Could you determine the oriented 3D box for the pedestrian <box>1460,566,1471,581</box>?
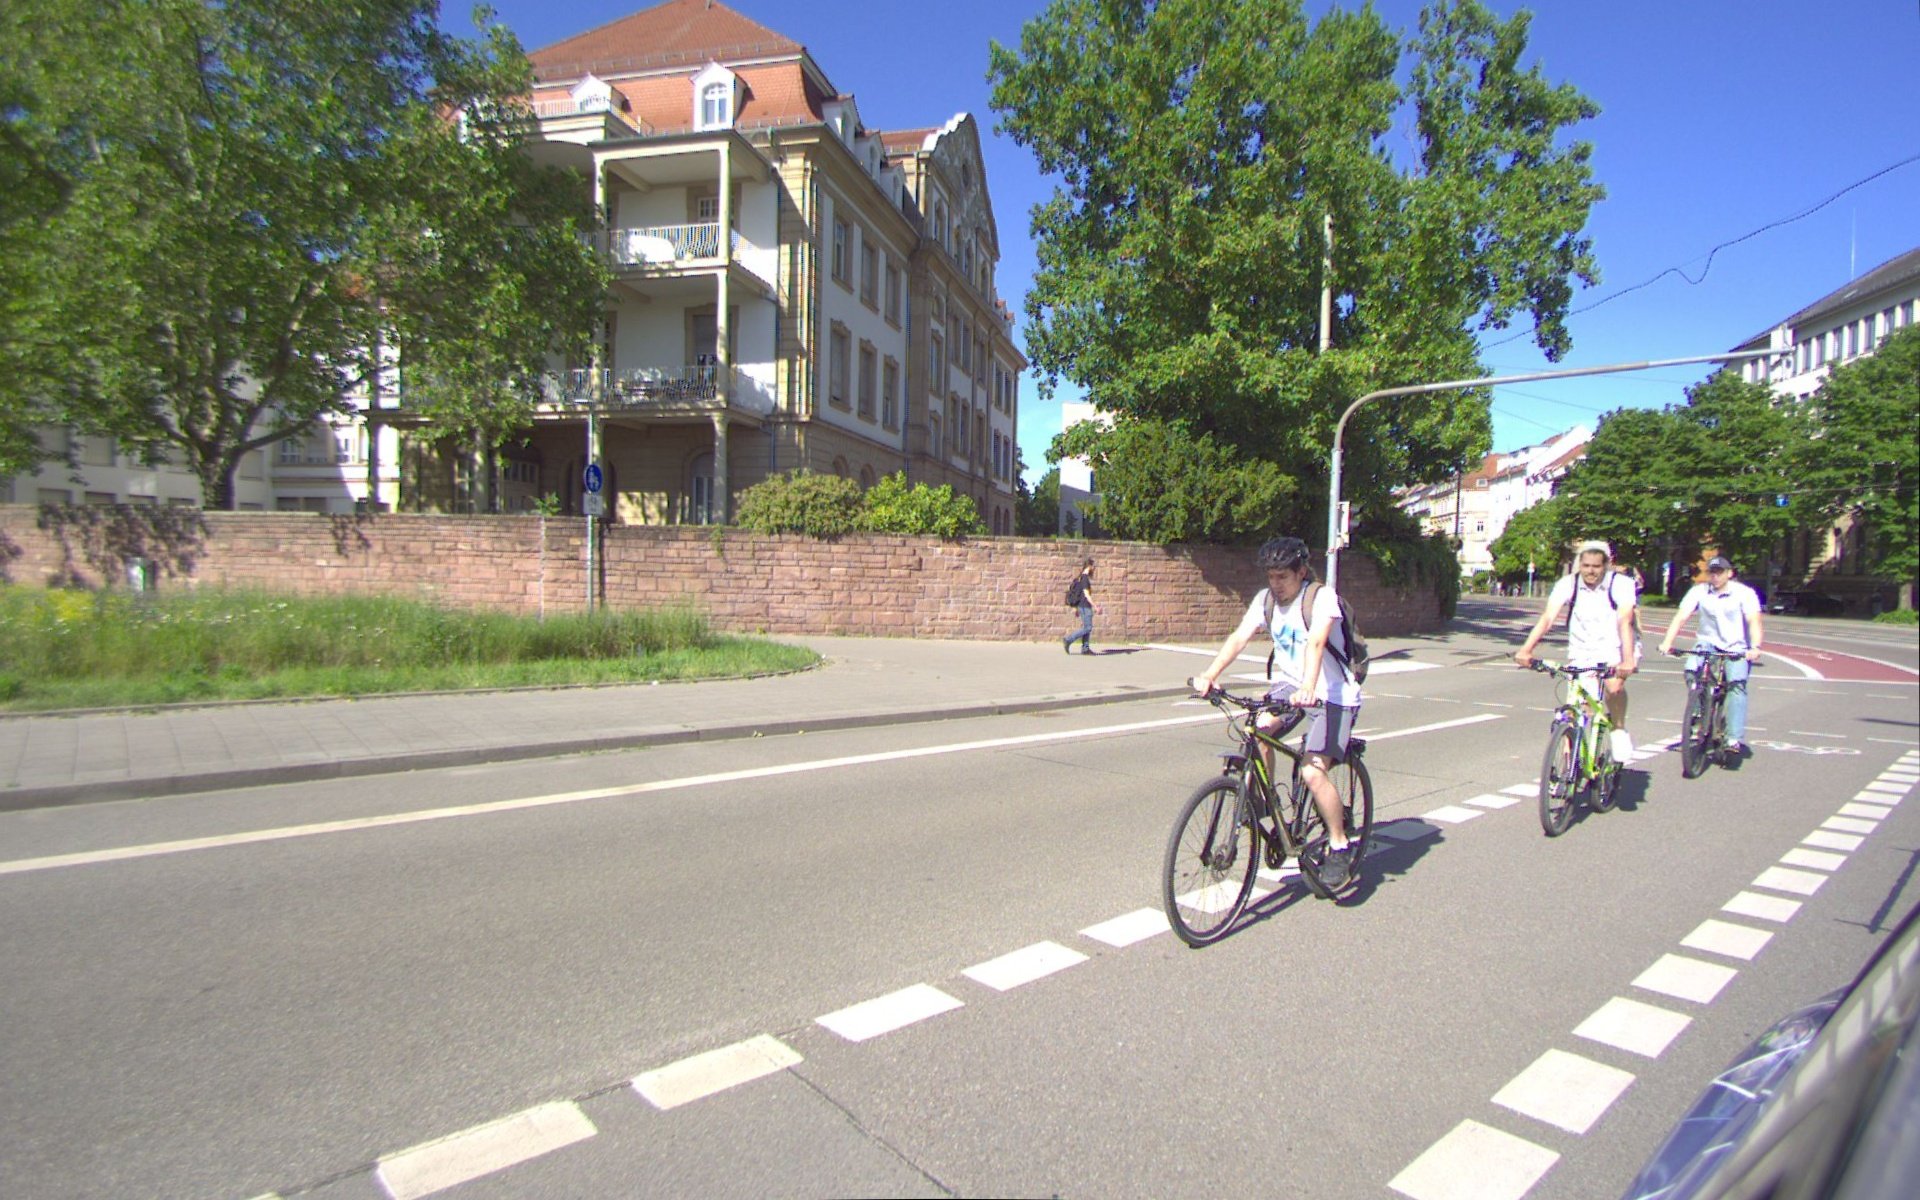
[{"bbox_3d":[58.468,-3.060,117.088,0.913,1.759,0.680,1,2,-4],"label":"pedestrian"}]

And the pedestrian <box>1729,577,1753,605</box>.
[{"bbox_3d":[48.690,-0.555,63.110,0.759,1.690,1.030,3,-2,10],"label":"pedestrian"}]

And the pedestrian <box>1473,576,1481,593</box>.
[{"bbox_3d":[60.171,-1.799,117.748,0.719,1.879,0.650,2,2,17],"label":"pedestrian"}]

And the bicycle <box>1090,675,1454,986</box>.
[{"bbox_3d":[1.473,0.907,4.583,1.851,0.972,0.723,-1,1,-42],"label":"bicycle"}]

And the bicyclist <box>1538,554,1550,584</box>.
[{"bbox_3d":[60.518,-3.201,104.840,0.996,3.011,1.458,1,2,31],"label":"bicyclist"}]

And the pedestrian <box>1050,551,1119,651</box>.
[{"bbox_3d":[2.396,-0.003,19.524,1.030,1.854,0.761,0,3,-35],"label":"pedestrian"}]

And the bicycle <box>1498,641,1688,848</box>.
[{"bbox_3d":[4.177,0.853,6.615,0.663,1.060,1.860,2,2,44],"label":"bicycle"}]

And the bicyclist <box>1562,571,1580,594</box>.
[{"bbox_3d":[44.253,-1.265,73.291,0.862,1.602,0.746,-1,2,-6],"label":"bicyclist"}]

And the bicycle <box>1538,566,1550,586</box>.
[{"bbox_3d":[60.438,-2.491,104.710,0.996,1.910,3.851,1,3,32],"label":"bicycle"}]

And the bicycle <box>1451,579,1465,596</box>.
[{"bbox_3d":[35.453,-0.901,72.113,0.657,1.166,1.663,0,3,18],"label":"bicycle"}]

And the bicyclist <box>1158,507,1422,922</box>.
[{"bbox_3d":[1.518,0.442,4.631,1.037,1.646,0.723,0,1,-41],"label":"bicyclist"}]

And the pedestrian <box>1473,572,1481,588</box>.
[{"bbox_3d":[60.133,-2.319,117.748,0.571,1.879,0.681,2,2,15],"label":"pedestrian"}]

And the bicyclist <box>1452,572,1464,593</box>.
[{"bbox_3d":[35.448,-1.243,72.083,0.657,1.479,0.619,0,2,19],"label":"bicyclist"}]

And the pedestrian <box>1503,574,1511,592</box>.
[{"bbox_3d":[58.720,-1.861,108.577,0.571,1.879,0.681,2,2,15],"label":"pedestrian"}]

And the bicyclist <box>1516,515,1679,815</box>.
[{"bbox_3d":[4.127,0.369,6.540,0.664,1.769,0.989,2,2,44],"label":"bicyclist"}]

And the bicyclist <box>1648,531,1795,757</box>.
[{"bbox_3d":[6.502,0.332,8.644,0.996,1.797,0.751,-1,2,-39],"label":"bicyclist"}]

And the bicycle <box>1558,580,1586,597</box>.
[{"bbox_3d":[44.317,-0.847,73.311,1.567,1.166,0.746,-1,2,-5],"label":"bicycle"}]

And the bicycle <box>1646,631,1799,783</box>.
[{"bbox_3d":[6.577,0.861,8.698,1.797,1.090,0.612,-1,2,-39],"label":"bicycle"}]

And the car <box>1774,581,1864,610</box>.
[{"bbox_3d":[50.846,-0.280,59.932,4.024,1.593,1.925,1,2,-12],"label":"car"}]

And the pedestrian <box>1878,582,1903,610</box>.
[{"bbox_3d":[53.755,-0.244,58.487,0.662,1.585,0.856,-2,1,10],"label":"pedestrian"}]
